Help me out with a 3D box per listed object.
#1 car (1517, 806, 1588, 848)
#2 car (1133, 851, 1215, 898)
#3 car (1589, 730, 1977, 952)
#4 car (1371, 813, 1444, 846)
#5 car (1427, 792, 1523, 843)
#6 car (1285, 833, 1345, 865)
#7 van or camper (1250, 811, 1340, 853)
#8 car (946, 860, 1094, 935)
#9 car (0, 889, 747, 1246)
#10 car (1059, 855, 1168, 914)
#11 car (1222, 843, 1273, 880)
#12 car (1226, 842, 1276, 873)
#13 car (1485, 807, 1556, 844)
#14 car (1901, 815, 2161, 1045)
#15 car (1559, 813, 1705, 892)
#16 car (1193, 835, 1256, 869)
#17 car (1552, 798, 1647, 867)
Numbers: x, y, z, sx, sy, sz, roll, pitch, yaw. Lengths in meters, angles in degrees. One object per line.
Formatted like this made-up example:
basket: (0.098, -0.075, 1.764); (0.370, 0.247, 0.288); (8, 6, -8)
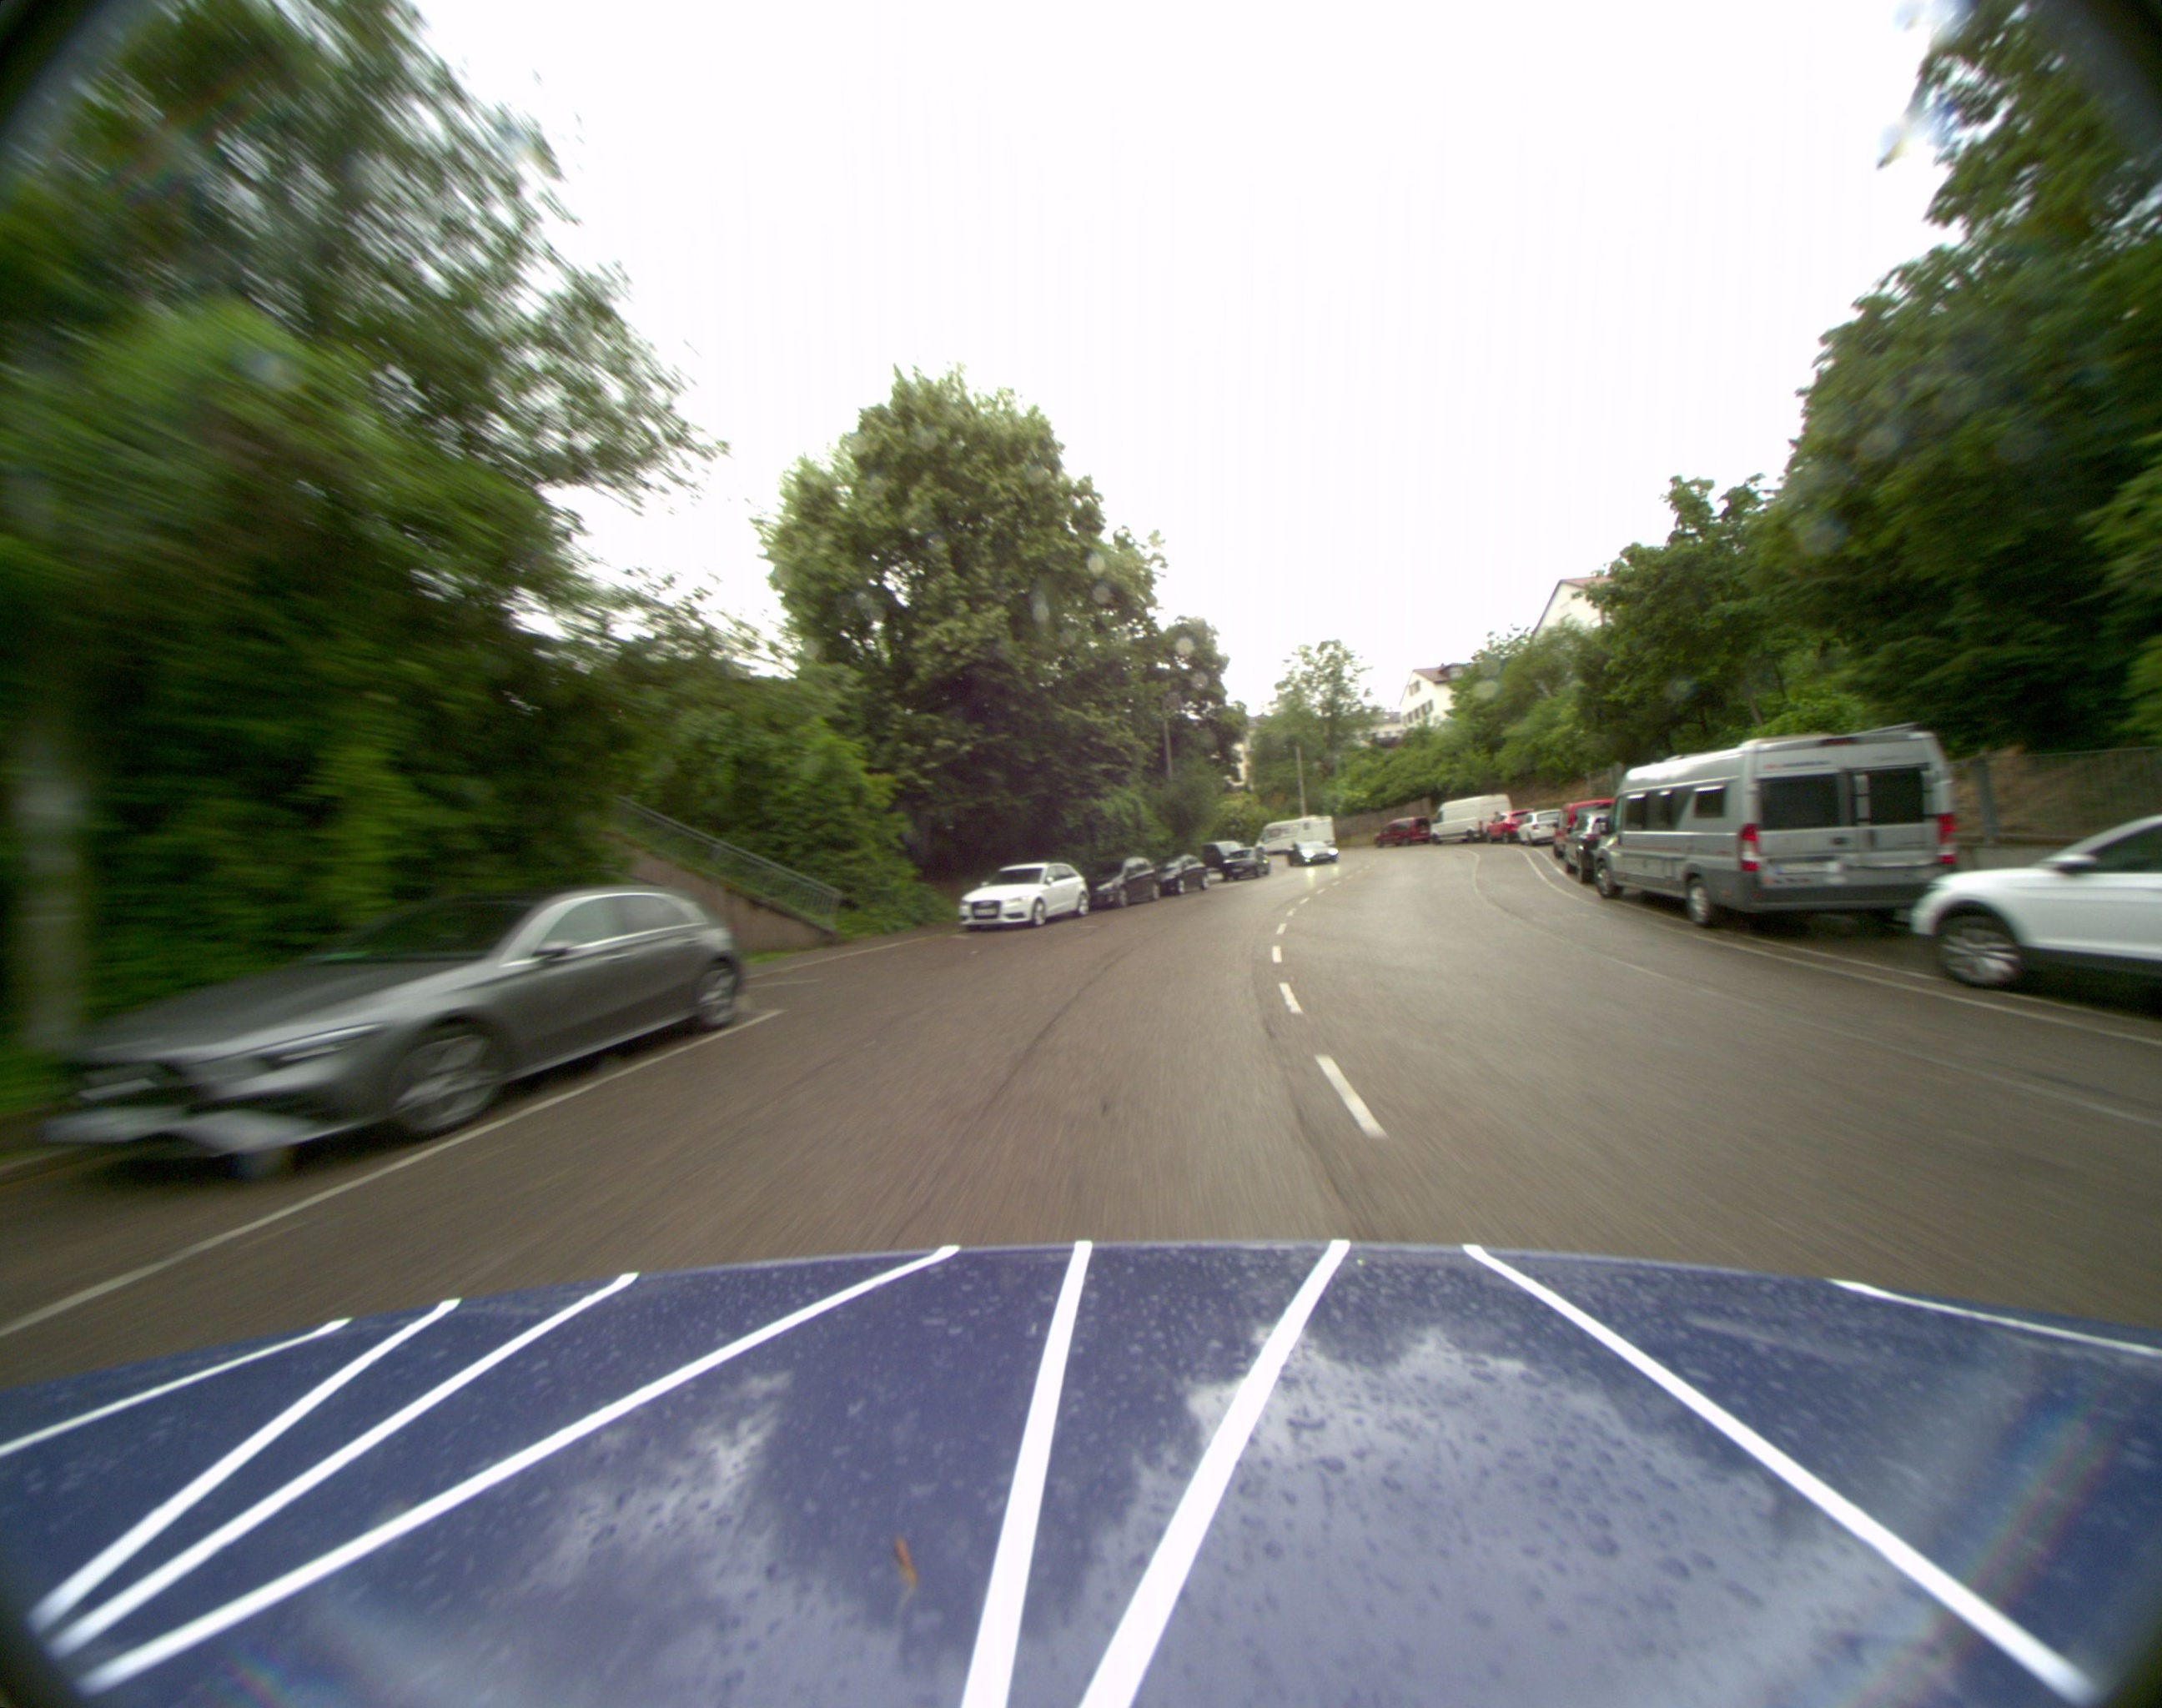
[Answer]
car: (20.556, -1.182, 33.307); (1.740, 1.470, 4.203); (-8, -1, 21)
car: (3.519, 0.722, 28.235); (1.591, 1.381, 3.828); (-7, -1, 29)
car: (10.223, -0.300, 11.990); (2.076, 2.536, 6.352); (-2, 3, 19)
car: (22.844, -1.706, 53.402); (2.000, 1.865, 4.816); (-7, 0, -15)
car: (23.136, -2.056, 45.024); (2.039, 2.516, 6.823); (-7, 0, 1)
car: (13.548, -0.296, 44.263); (1.899, 1.530, 4.499); (-8, 0, -1)
van or camper: (17.974, -1.807, 64.374); (2.462, 2.950, 7.510); (-6, 1, -31)
car: (-1.293, 0.953, 18.103); (1.757, 1.392, 4.101); (-5, 0, 22)
car: (-4.472, 1.109, 5.627); (1.724, 1.435, 4.127); (-2, 0, 7)
car: (1.065, 0.862, 22.737); (1.662, 1.415, 3.975); (-5, -1, 27)
car: (8.334, 0.354, 37.896); (1.629, 1.479, 3.749); (-8, -1, 23)
car: (9.740, 0.165, 44.011); (1.905, 1.479, 4.875); (-8, 0, 3)
car: (22.274, -1.428, 38.694); (1.778, 1.576, 4.436); (-6, 0, 13)
car: (8.524, 0.541, 5.188); (1.807, 1.574, 4.025); (-2, 2, 7)
car: (12.923, -0.123, 18.136); (1.995, 1.610, 4.402); (-1, 3, 25)
car: (9.384, -0.100, 50.113); (2.000, 1.876, 5.031); (-8, 1, -13)
car: (15.665, -0.715, 23.142); (1.752, 1.758, 4.141); (-5, 2, 27)
